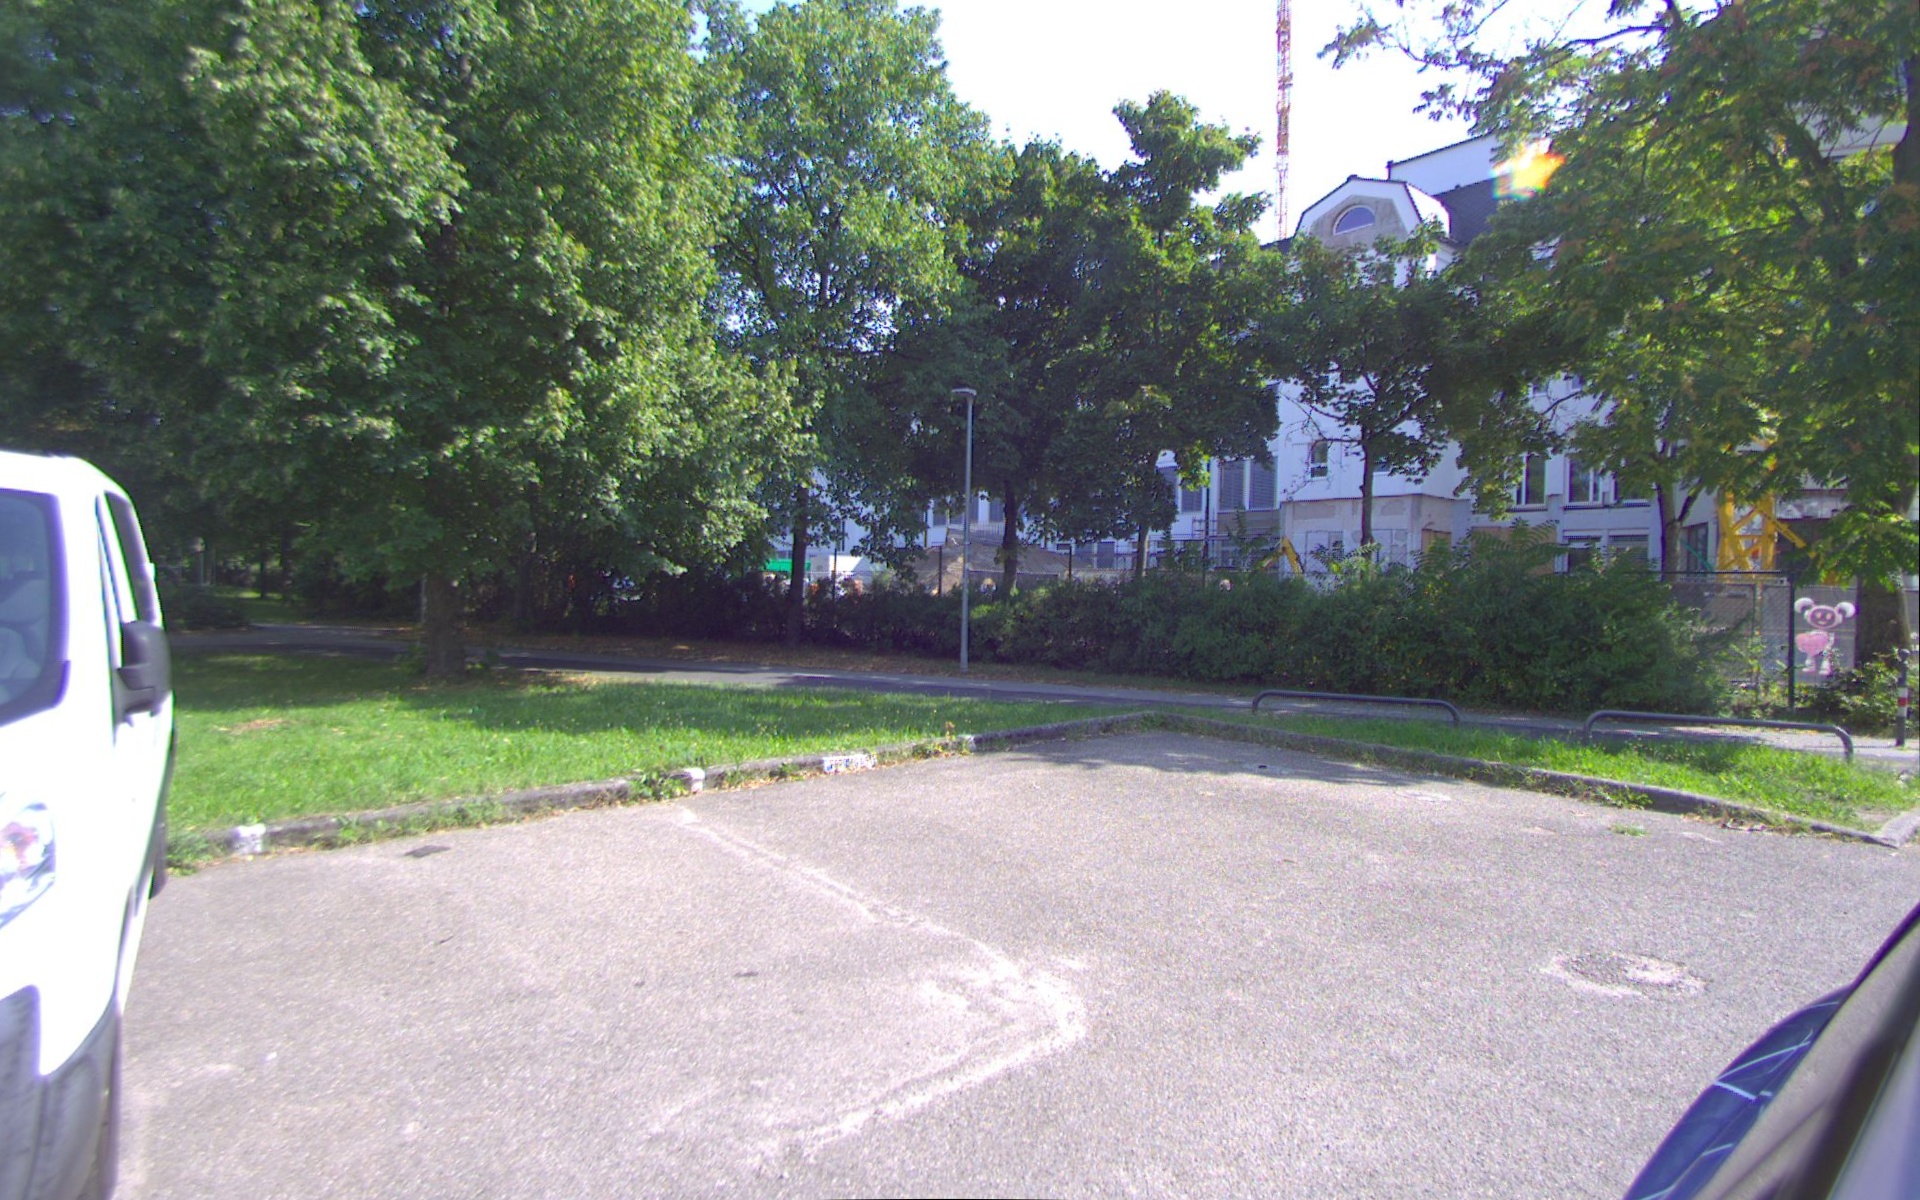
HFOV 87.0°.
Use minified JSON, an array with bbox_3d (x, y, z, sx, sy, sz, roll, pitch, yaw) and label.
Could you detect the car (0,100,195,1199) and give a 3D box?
[{"bbox_3d":[-3.477,0.262,2.909,2.006,1.945,4.971,-1,1,-37],"label":"car"}]
